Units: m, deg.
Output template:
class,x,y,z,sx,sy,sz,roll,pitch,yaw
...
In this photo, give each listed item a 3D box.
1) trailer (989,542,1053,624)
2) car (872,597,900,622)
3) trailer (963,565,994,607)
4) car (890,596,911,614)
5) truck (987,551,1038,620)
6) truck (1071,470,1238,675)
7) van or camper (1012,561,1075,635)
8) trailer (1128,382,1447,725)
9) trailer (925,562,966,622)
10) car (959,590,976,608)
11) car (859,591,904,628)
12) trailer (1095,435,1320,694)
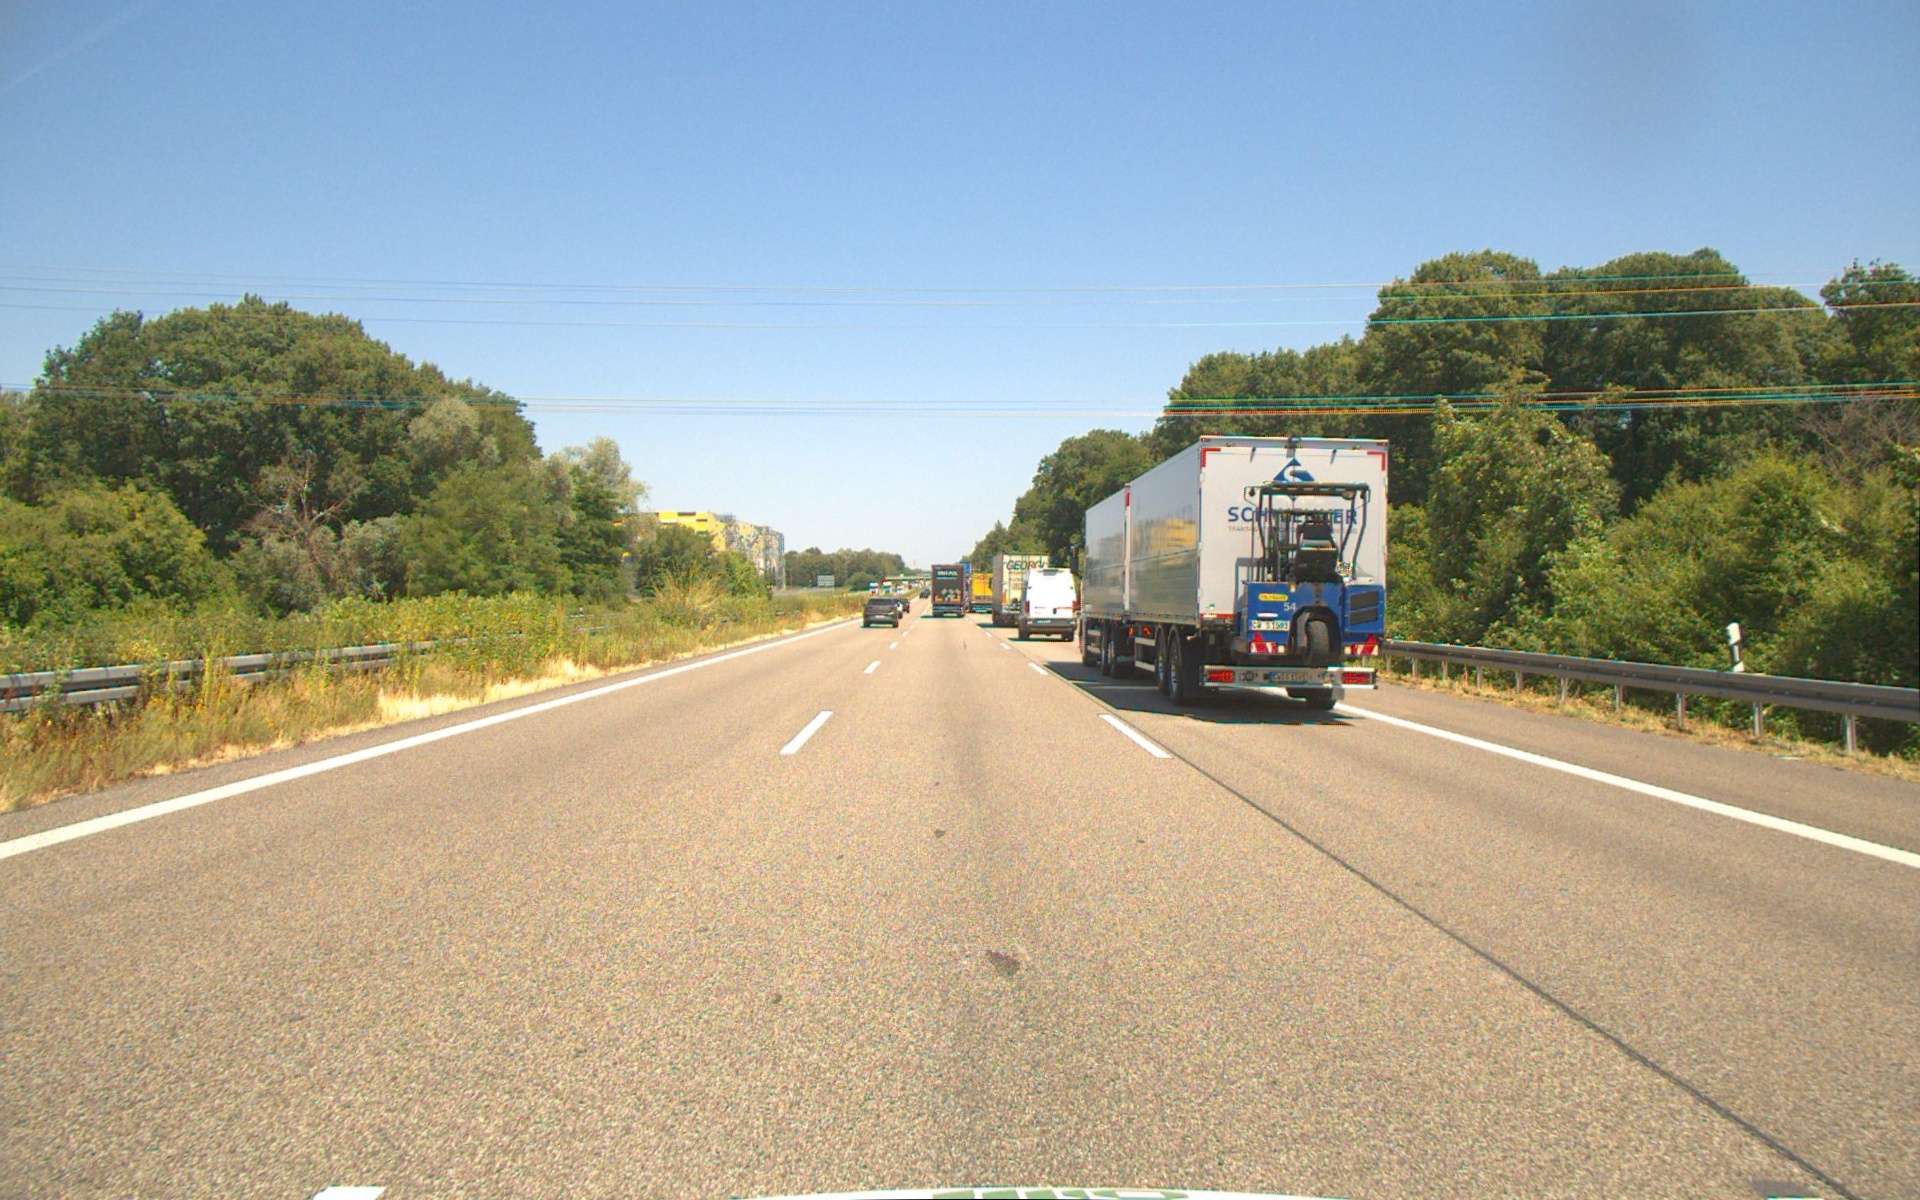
class,x,y,z,sx,sy,sz,roll,pitch,yaw
trailer,3.376,-0.932,95.254,2.933,4.364,13.415,1,0,-1
car,-5.332,0.682,119.968,1.953,1.758,4.129,0,0,-2
trailer,1.840,-1.424,167.741,2.777,4.023,11.681,0,1,-1
car,-5.728,0.451,159.196,1.902,1.736,3.999,0,0,-1
truck,3.217,-0.867,102.799,2.941,4.197,5.252,0,0,-1
truck,4.150,-0.565,36.808,2.830,4.100,6.869,1,0,-1
van or camper,3.170,-0.093,63.911,1.981,2.683,6.486,1,0,-1
trailer,4.385,-0.565,24.116,2.885,4.134,8.126,1,0,-1
trailer,-1.263,-0.644,133.574,3.043,4.585,14.892,0,0,-1
car,0.874,-0.095,192.436,1.953,2.049,3.999,-1,0,-1
car,-4.094,0.456,86.931,2.171,1.821,5.392,-1,0,-1
trailer,4.265,-0.571,30.166,2.860,4.112,7.315,1,0,-1
